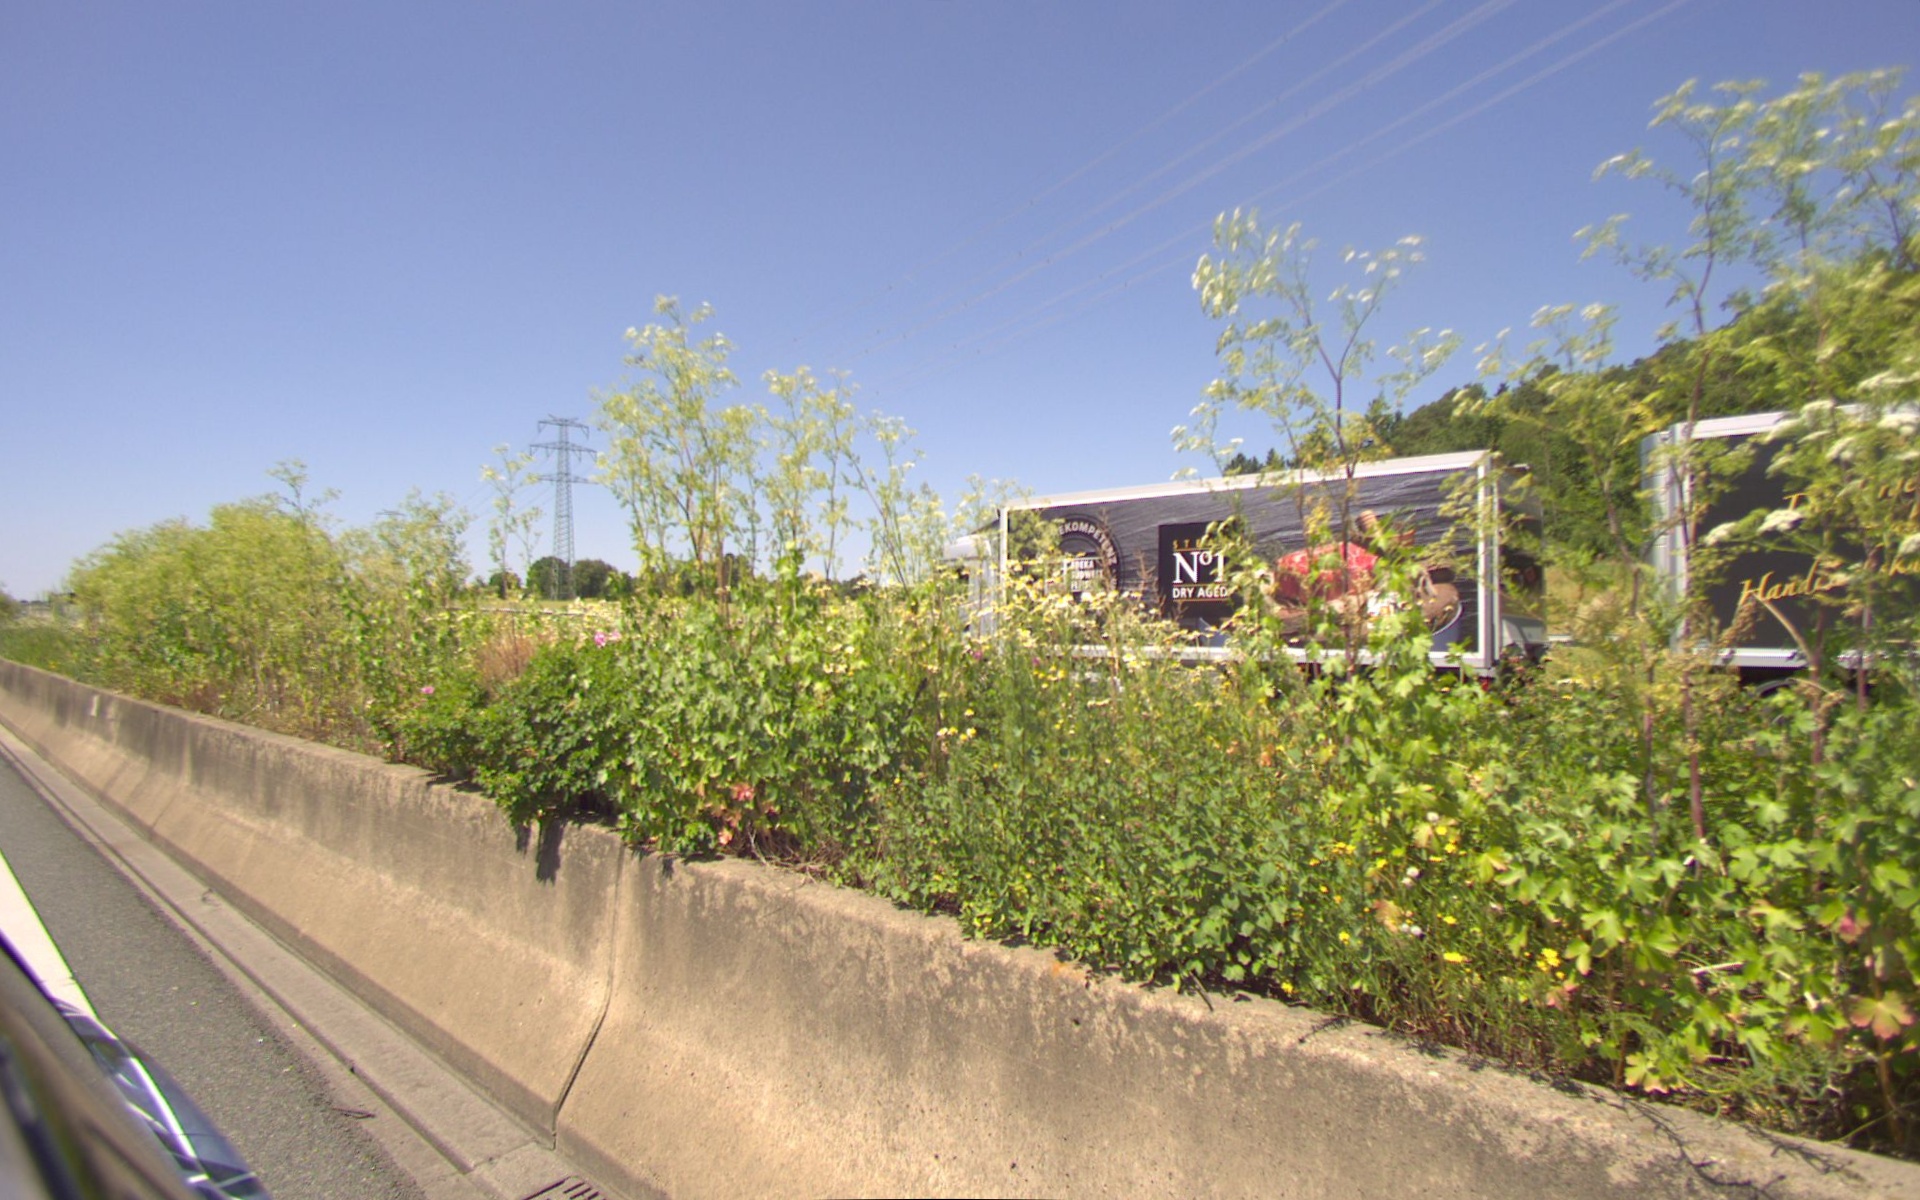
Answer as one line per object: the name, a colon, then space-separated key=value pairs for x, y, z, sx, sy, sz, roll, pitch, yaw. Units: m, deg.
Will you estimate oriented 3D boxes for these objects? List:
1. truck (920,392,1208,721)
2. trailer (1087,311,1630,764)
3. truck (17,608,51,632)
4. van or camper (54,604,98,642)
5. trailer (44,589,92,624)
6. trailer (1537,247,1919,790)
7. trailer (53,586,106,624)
truck: x=1.848 y=-0.636 z=18.209 sx=4.031 sy=5.089 sz=3.268 roll=-1 pitch=-2 yaw=42
trailer: x=5.556 y=-0.669 z=14.829 sx=6.702 sy=5.086 sz=3.287 roll=-1 pitch=-1 yaw=42
truck: x=-136.863 y=2.947 z=149.534 sx=11.820 sy=3.313 sz=2.735 roll=-1 pitch=-2 yaw=43
van or camper: x=-69.593 y=1.832 z=79.684 sx=4.648 sy=2.882 sz=2.026 roll=-1 pitch=-2 yaw=42
trailer: x=-99.151 y=0.776 z=112.444 sx=7.867 sy=3.788 sz=3.091 roll=-1 pitch=-2 yaw=42
trailer: x=11.259 y=-0.764 z=9.592 sx=9.590 sy=5.086 sz=3.286 roll=-1 pitch=-1 yaw=43
trailer: x=-93.220 y=0.605 z=107.086 sx=8.198 sy=3.790 sz=3.149 roll=-1 pitch=-2 yaw=42
